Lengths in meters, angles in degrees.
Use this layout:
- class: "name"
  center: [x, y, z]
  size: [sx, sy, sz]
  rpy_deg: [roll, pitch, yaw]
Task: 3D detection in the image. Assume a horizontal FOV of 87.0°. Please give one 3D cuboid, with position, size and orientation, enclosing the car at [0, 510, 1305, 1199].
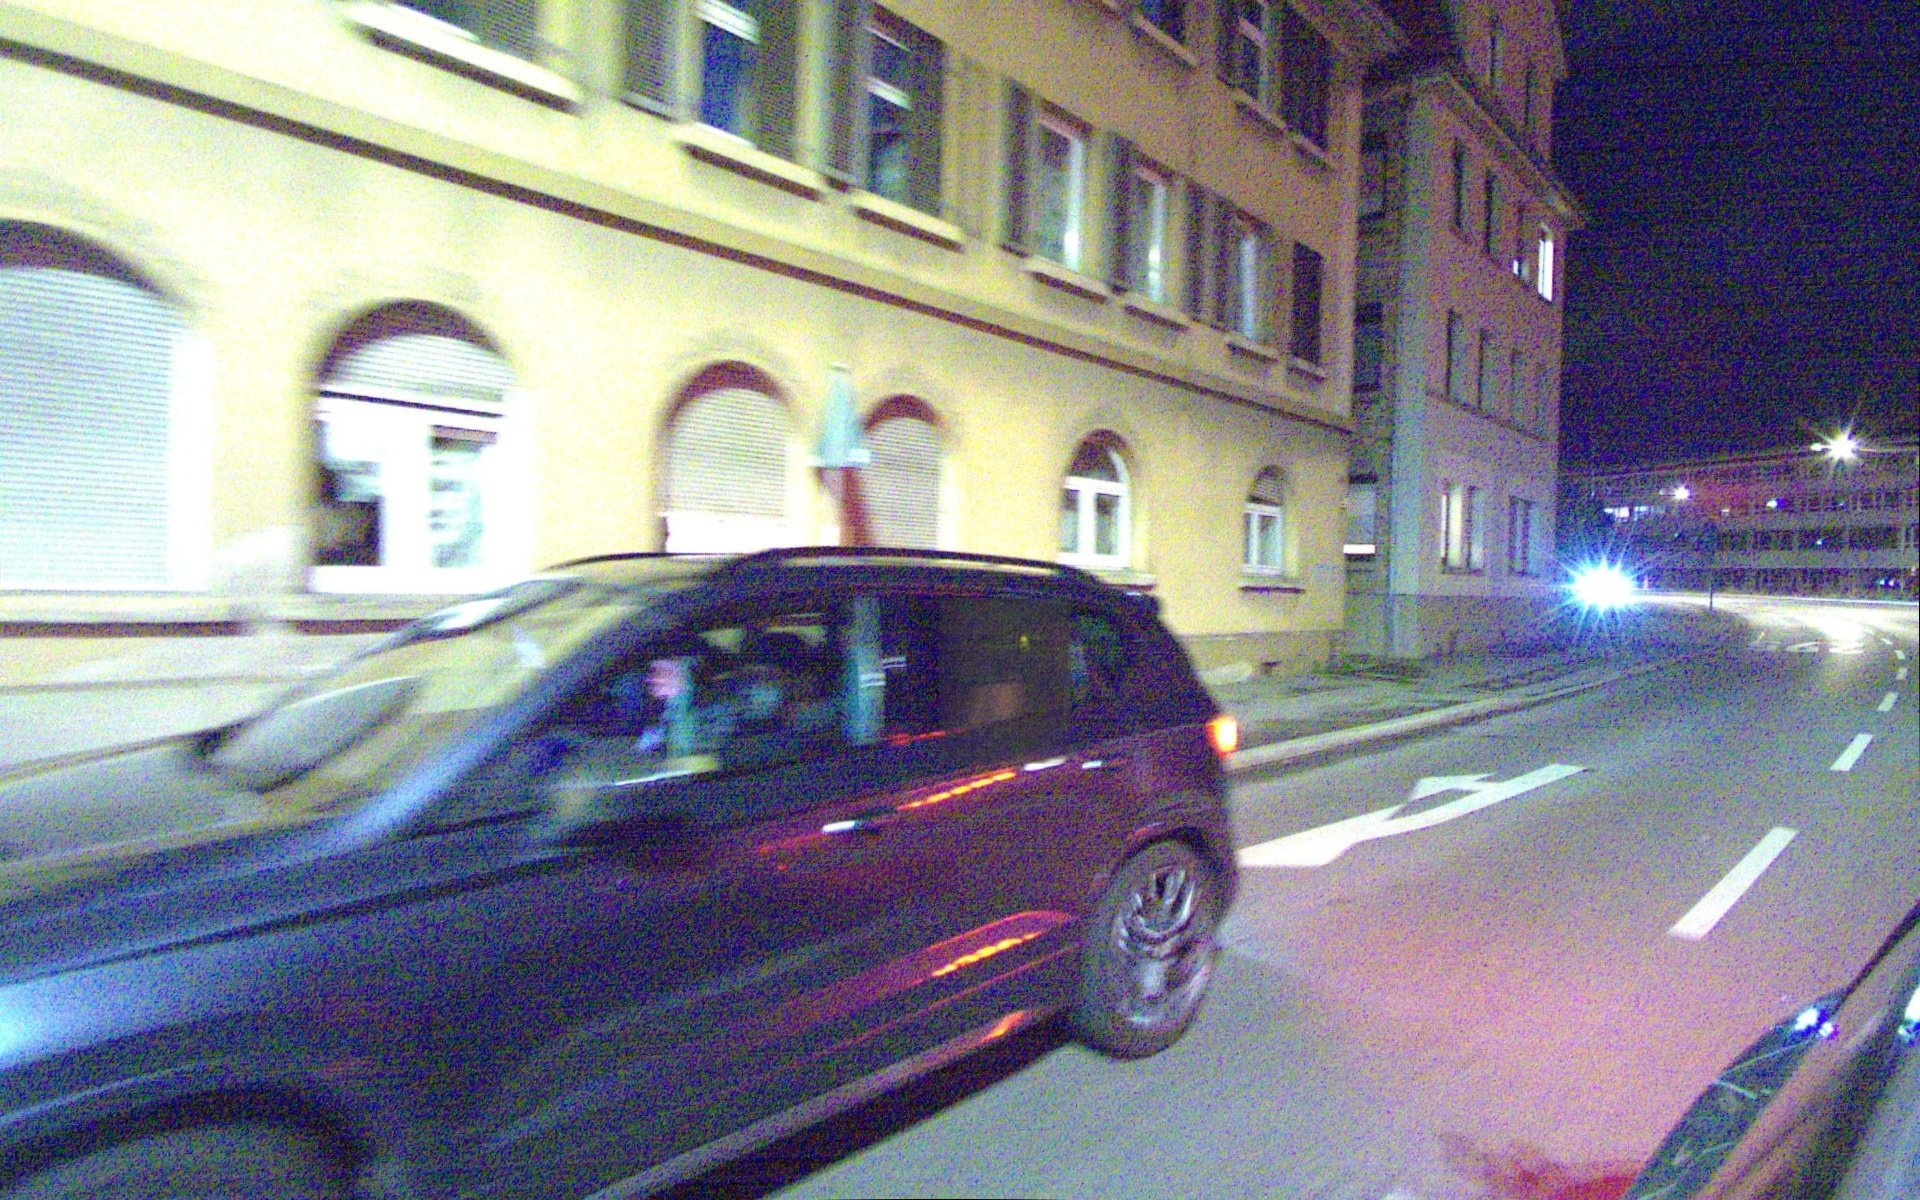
- class: "car"
  center: [-0.798, 0.643, 2.886]
  size: [4.160, 1.630, 1.671]
  rpy_deg: [-2, 2, -44]
